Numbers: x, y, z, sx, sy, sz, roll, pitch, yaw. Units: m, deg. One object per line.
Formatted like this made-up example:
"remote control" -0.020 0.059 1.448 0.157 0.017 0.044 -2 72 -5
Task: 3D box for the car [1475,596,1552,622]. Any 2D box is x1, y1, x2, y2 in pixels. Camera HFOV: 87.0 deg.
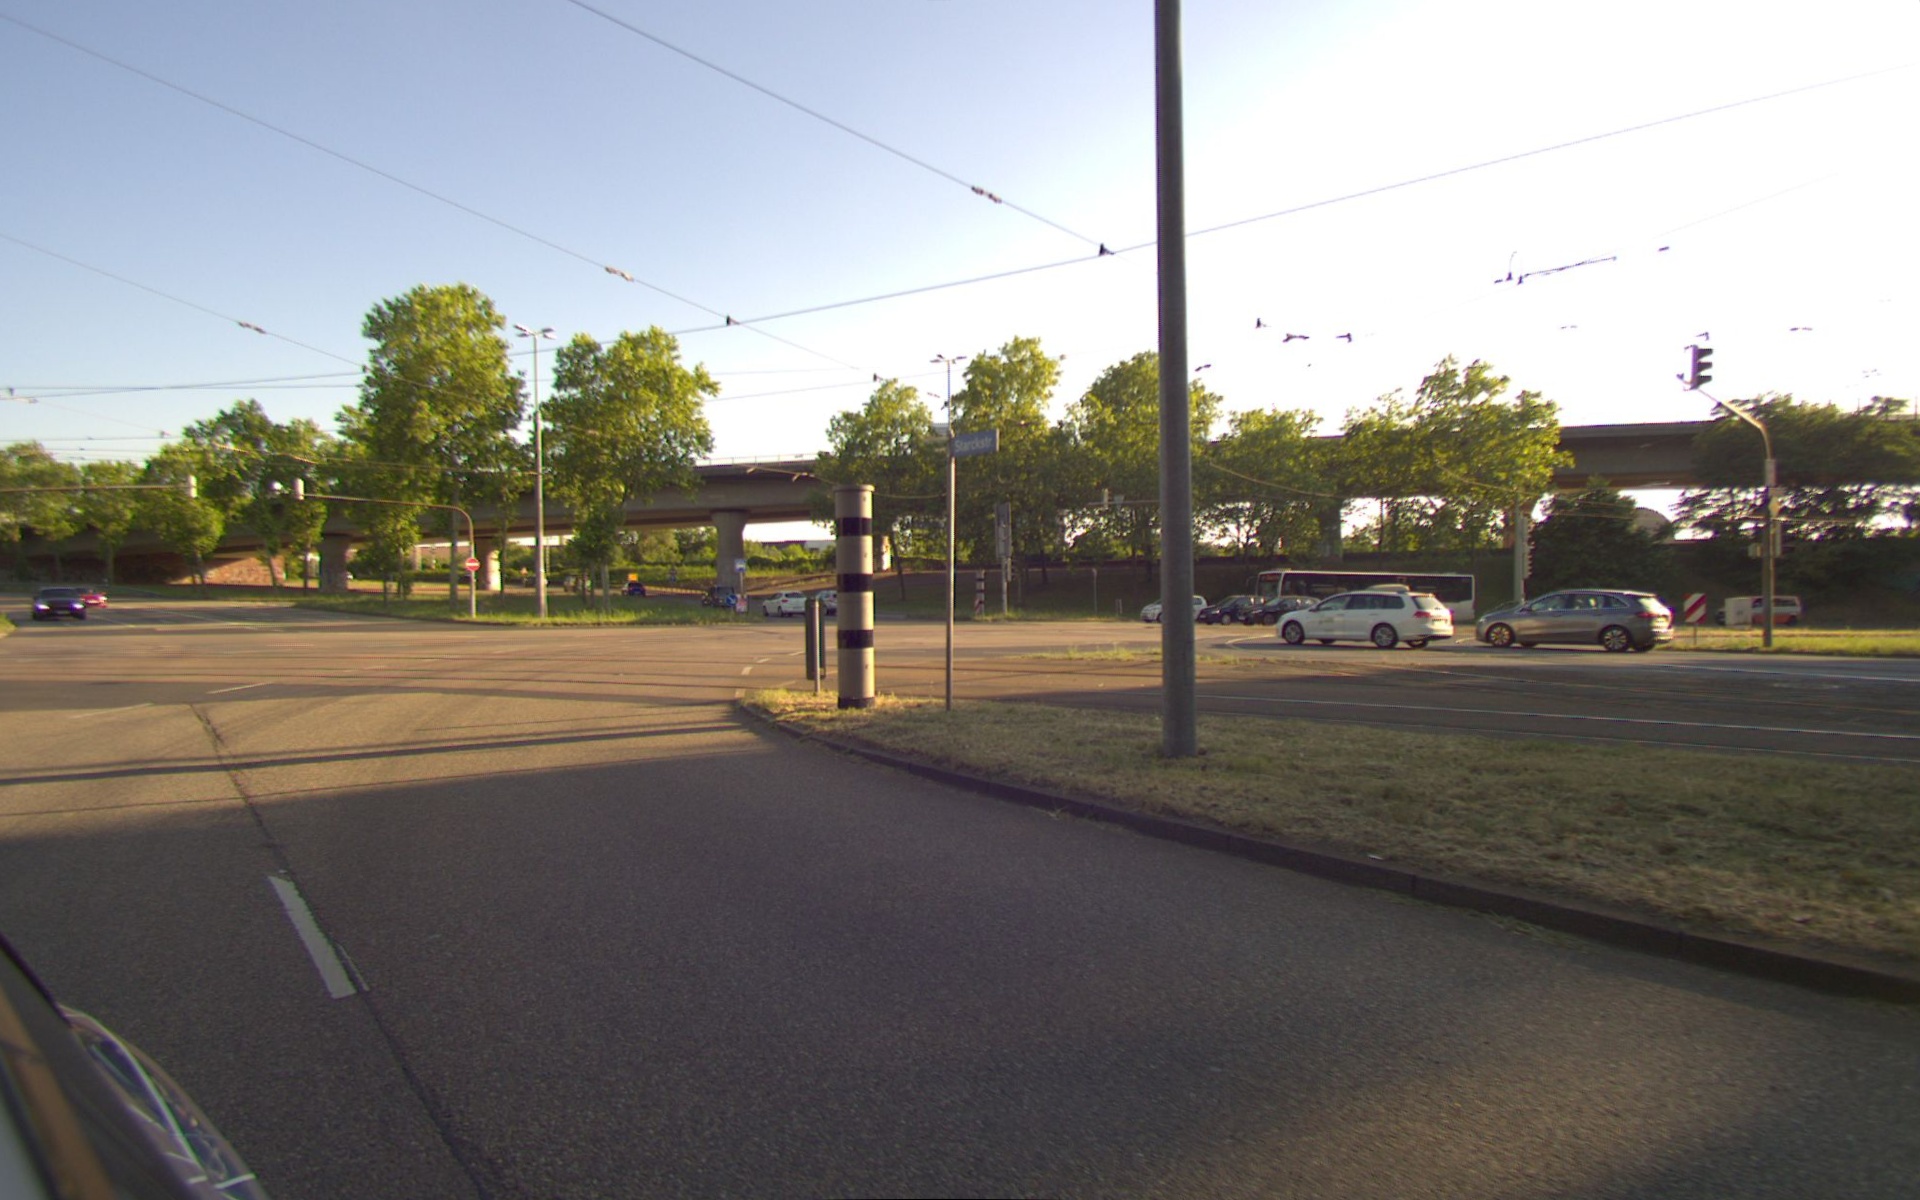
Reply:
"car" 32.640 0.499 59.698 3.931 1.453 1.710 0 1 -18

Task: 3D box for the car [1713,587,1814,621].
"car" 49.934 0.227 62.945 5.335 2.029 2.005 -1 0 -13

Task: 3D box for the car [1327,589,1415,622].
"car" 21.164 0.256 52.122 4.025 1.665 1.722 0 1 -18

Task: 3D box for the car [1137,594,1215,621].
"car" 11.350 0.358 53.197 3.670 1.364 1.615 0 1 -20

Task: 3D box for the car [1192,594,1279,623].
"car" 13.623 0.388 50.046 3.931 1.364 1.615 0 1 -20

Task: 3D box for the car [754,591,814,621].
"car" -10.300 0.327 58.935 1.826 1.621 4.320 -1 1 -34

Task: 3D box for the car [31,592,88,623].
"car" -47.117 0.405 52.928 4.002 1.497 1.971 -1 1 45

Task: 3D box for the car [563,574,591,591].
"car" -45.265 -2.025 119.466 1.967 1.920 4.717 -1 1 -35

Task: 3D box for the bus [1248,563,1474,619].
"bus" 22.520 -0.560 56.720 12.634 2.976 2.840 0 1 -16

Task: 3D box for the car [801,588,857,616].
"car" -8.082 0.108 62.141 1.825 1.621 4.383 -1 1 -31

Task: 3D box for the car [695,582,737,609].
"car" -17.300 -0.323 71.544 1.825 1.881 4.159 -1 1 -30

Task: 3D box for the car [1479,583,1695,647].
"car" 15.852 0.346 25.762 1.980 1.454 4.262 -2 1 -38

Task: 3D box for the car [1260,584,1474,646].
"car" 10.528 0.346 26.514 1.980 1.454 4.870 -2 1 -38

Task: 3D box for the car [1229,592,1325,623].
"car" 14.857 0.324 47.445 4.025 1.364 1.722 0 1 -18

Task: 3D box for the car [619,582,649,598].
"car" -32.783 -1.027 101.762 1.966 1.570 3.947 -1 1 -31

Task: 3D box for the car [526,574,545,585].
"car" -55.771 -2.636 132.981 1.668 1.433 3.744 -1 1 -32

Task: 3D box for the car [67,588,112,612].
"car" -59.030 0.016 68.672 1.967 1.497 4.010 -2 0 -36
